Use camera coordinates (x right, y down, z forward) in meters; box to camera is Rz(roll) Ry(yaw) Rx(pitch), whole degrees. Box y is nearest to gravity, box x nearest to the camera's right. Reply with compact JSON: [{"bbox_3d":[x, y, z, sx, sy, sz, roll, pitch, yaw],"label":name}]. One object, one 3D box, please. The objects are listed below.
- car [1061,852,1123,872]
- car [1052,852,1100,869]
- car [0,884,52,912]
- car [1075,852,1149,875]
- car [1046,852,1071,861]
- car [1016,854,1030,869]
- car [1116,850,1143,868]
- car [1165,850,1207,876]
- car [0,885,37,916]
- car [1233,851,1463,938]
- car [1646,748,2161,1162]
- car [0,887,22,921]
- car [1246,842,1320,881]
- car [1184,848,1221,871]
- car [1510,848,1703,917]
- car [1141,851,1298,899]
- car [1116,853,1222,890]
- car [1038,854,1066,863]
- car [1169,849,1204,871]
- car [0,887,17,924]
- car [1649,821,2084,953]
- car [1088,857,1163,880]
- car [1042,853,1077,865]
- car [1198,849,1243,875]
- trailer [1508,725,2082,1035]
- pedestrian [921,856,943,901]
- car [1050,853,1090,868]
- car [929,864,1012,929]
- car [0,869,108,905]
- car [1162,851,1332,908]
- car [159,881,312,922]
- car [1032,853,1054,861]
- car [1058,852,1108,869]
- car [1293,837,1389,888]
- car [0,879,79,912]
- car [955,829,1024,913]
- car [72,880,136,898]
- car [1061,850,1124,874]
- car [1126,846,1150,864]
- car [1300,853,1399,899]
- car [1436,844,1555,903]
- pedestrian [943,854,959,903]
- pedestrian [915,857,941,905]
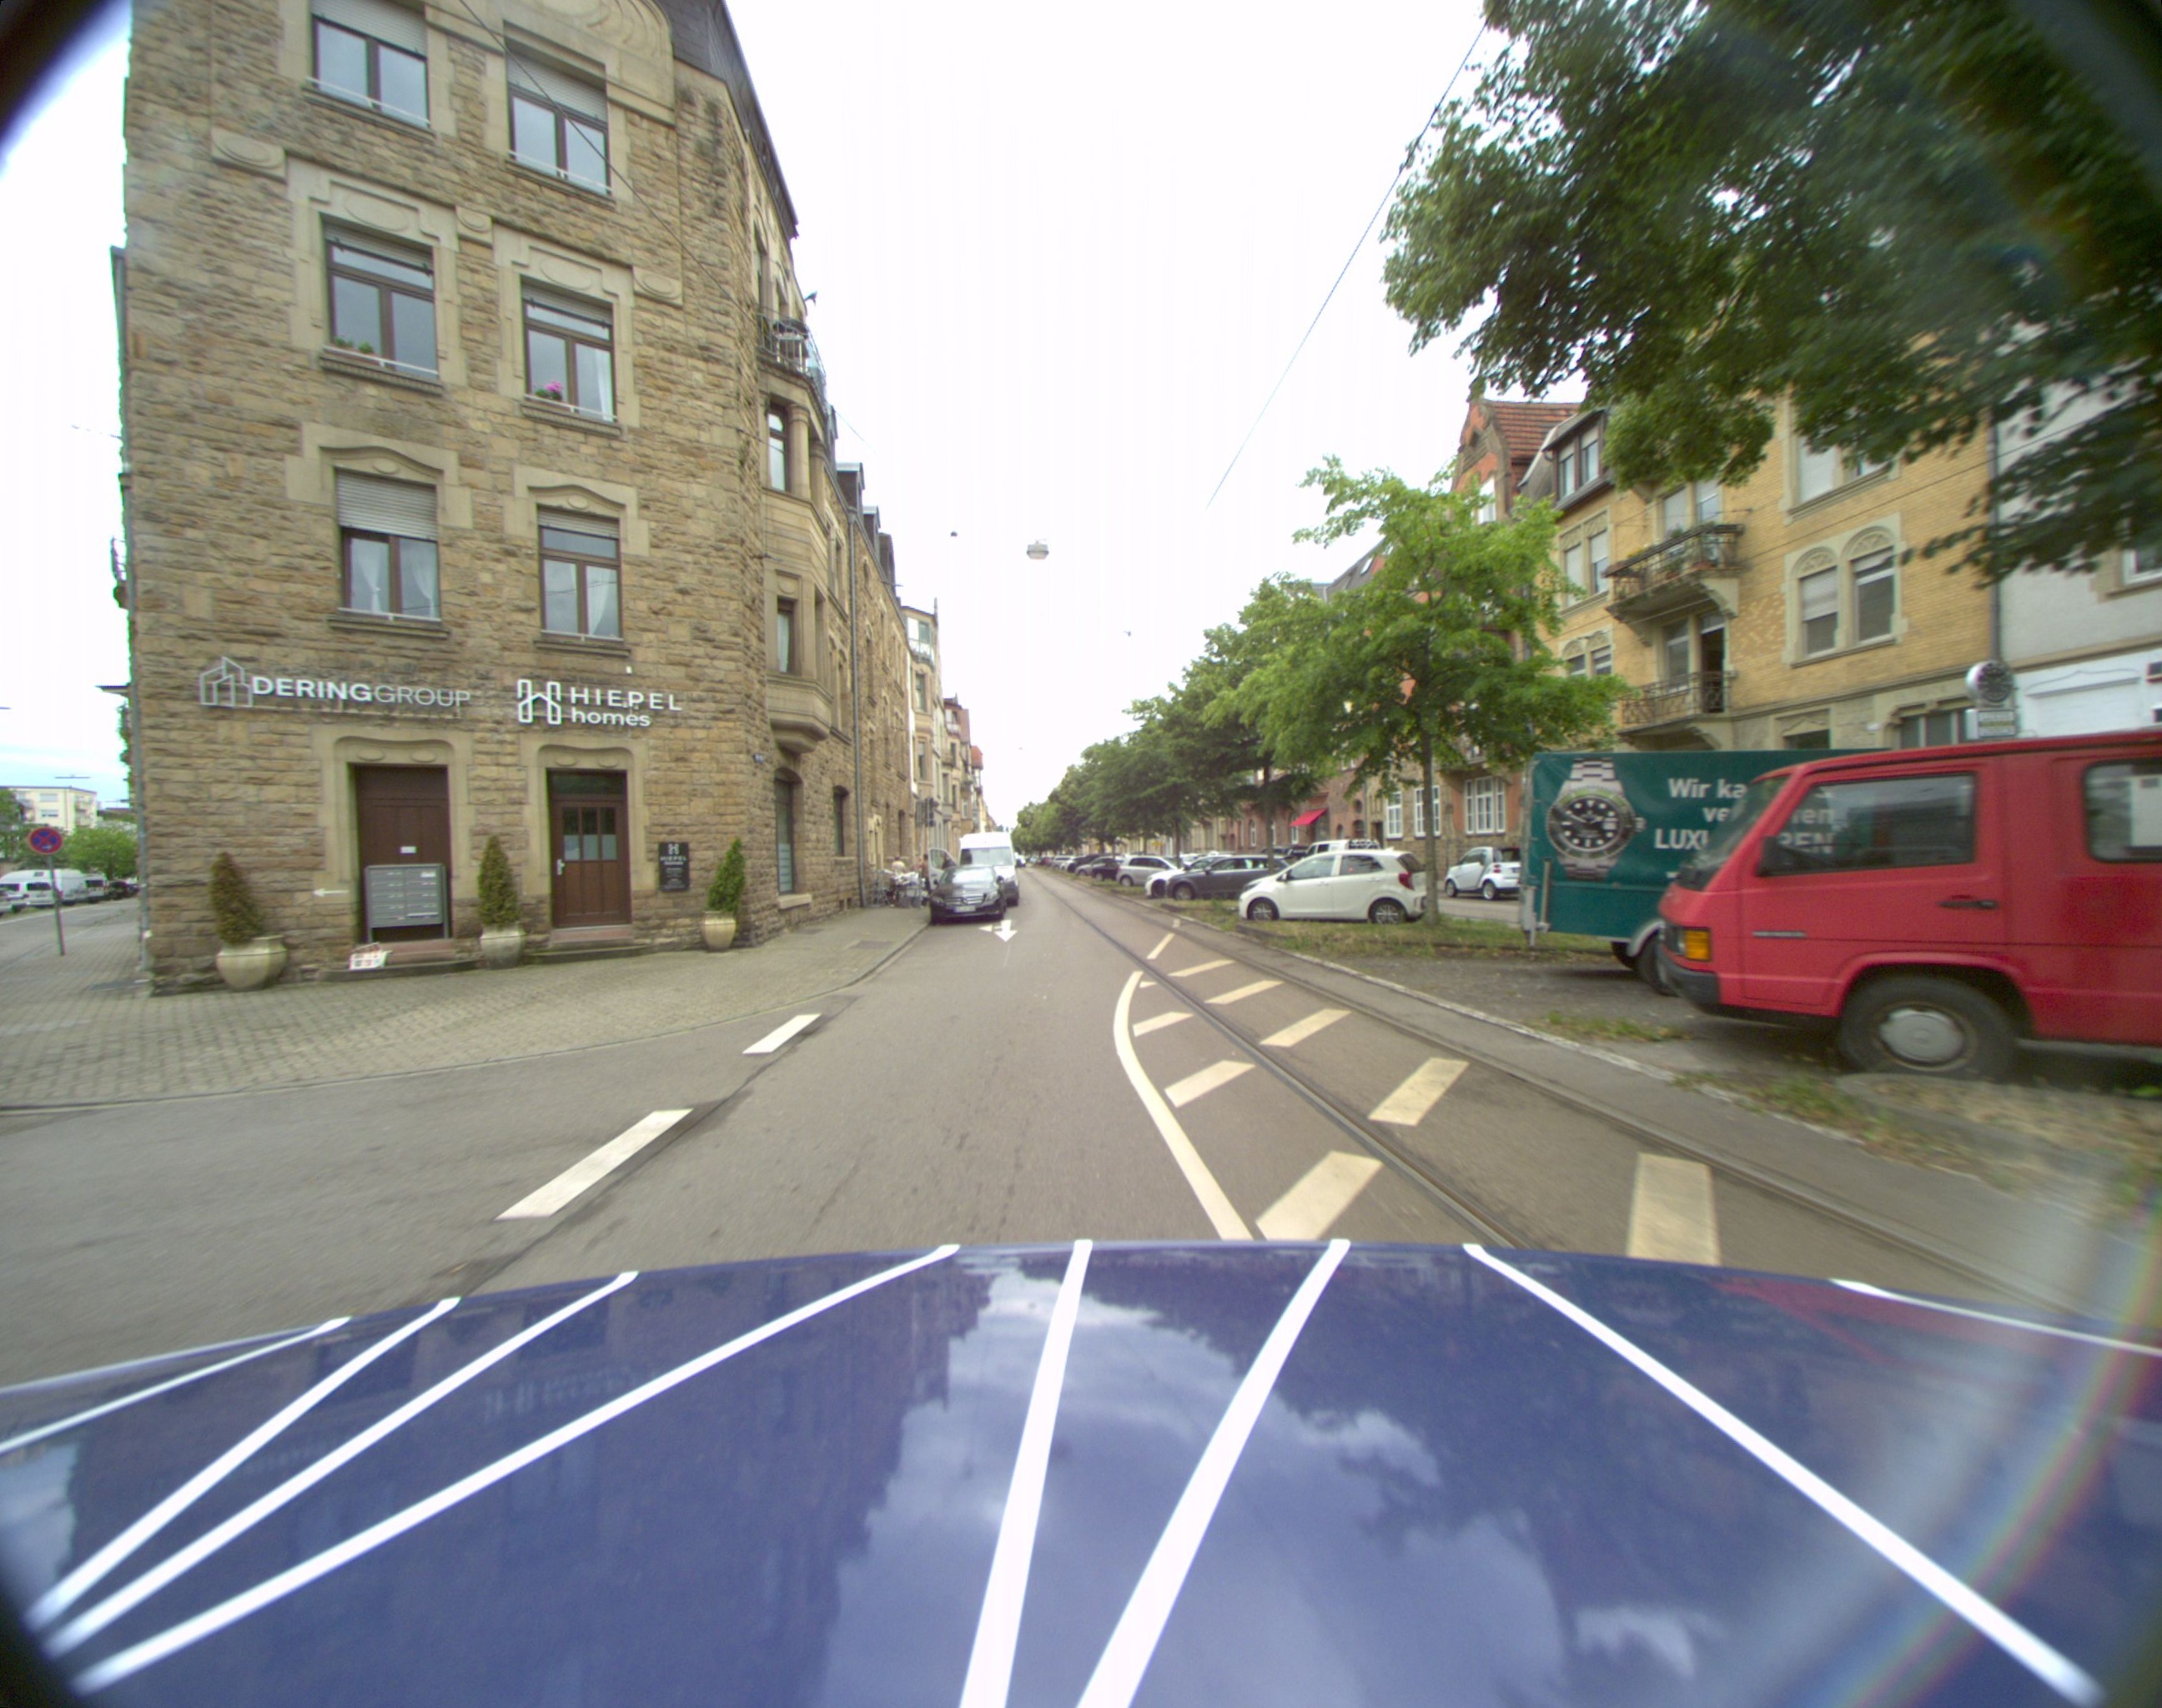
[{"bbox_3d":[0.830,0.647,59.675,4.529,1.482,2.040,-1,1,39],"label":"car"},{"bbox_3d":[-0.482,0.652,74.682,4.552,1.484,1.867,-2,1,41],"label":"car"},{"bbox_3d":[-63.948,2.635,44.930,4.038,1.501,1.888,-2,1,6],"label":"car"},{"bbox_3d":[2.006,0.654,49.664,4.655,1.360,1.761,-2,0,37],"label":"car"},{"bbox_3d":[-3.951,0.482,131.984,3.992,1.407,1.901,-1,-1,15],"label":"car"},{"bbox_3d":[-8.701,1.106,113.295,1.999,2.002,3.997,-2,1,-5],"label":"car"},{"bbox_3d":[4.339,0.405,68.087,1.649,1.495,4.619,-2,1,-6],"label":"car"},{"bbox_3d":[6.446,0.525,46.972,1.649,1.495,3.881,-2,1,-6],"label":"car"},{"bbox_3d":[-57.809,2.484,39.784,4.038,1.501,1.888,-2,1,6],"label":"car"},{"bbox_3d":[5.133,0.731,14.809,3.853,1.454,1.693,-2,0,37],"label":"car"},{"bbox_3d":[6.111,0.451,4.118,4.755,1.963,1.963,-2,0,33],"label":"car"},{"bbox_3d":[-49.652,2.281,32.982,4.044,1.501,1.885,-2,1,-12],"label":"car"},{"bbox_3d":[10.025,0.319,38.112,1.819,1.771,5.114,-2,1,-6],"label":"car"},{"bbox_3d":[8.802,0.372,55.316,1.667,1.551,3.720,-2,1,-6],"label":"car"},{"bbox_3d":[12.510,0.617,18.433,1.640,1.434,3.921,-2,0,-7],"label":"car"},{"bbox_3d":[4.495,0.691,25.004,4.675,1.426,1.902,-2,0,34],"label":"car"},{"bbox_3d":[3.731,0.762,32.464,4.106,1.475,1.800,-2,1,36],"label":"car"},{"bbox_3d":[-4.613,0.741,120.473,3.989,1.407,1.902,-2,-1,33],"label":"car"},{"bbox_3d":[8.315,0.437,60.180,1.774,1.619,4.317,-2,1,-6],"label":"car"},{"bbox_3d":[-47.187,2.219,31.042,4.044,1.501,1.885,-2,1,-12],"label":"car"},{"bbox_3d":[10.054,0.342,10.230,1.649,1.374,3.881,-2,1,-6],"label":"car"},{"bbox_3d":[2.497,0.823,42.912,3.952,1.195,1.671,-2,0,38],"label":"car"},{"bbox_3d":[-2.908,0.727,102.762,4.595,1.458,1.890,-2,0,40],"label":"car"},{"bbox_3d":[9.208,0.475,50.509,1.745,1.617,4.551,-2,1,-6],"label":"car"},{"bbox_3d":[6.312,0.230,7.398,3.662,2.331,1.934,-2,0,28],"label":"trailer"},{"bbox_3d":[-5.736,0.943,29.207,0.706,1.690,0.491,0,0,-33],"label":"pedestrian"},{"bbox_3d":[-1.226,0.735,84.956,4.195,1.600,1.728,-1,2,36],"label":"car"},{"bbox_3d":[-2.923,1.069,21.100,1.829,1.442,5.004,-3,0,-4],"label":"car"},{"bbox_3d":[-78.750,2.458,57.878,5.327,2.488,2.346,-2,1,-12],"label":"car"},{"bbox_3d":[4.703,0.716,21.786,4.328,1.426,1.902,-2,0,37],"label":"car"},{"bbox_3d":[-34.351,1.885,31.052,1.750,1.425,4.052,0,0,45],"label":"car"},{"bbox_3d":[-7.540,0.643,151.554,3.990,1.602,1.902,-2,-1,25],"label":"car"},{"bbox_3d":[0.135,0.600,67.560,4.119,1.304,1.867,-2,1,38],"label":"car"},{"bbox_3d":[10.896,0.309,32.283,1.887,1.941,5.090,-2,1,-6],"label":"car"},{"bbox_3d":[-72.391,2.835,51.353,5.327,2.011,2.346,-2,1,-12],"label":"car"},{"bbox_3d":[-3.150,0.536,27.499,2.019,2.534,7.013,-4,0,-4],"label":"car"},{"bbox_3d":[-93.279,3.327,72.540,4.038,1.501,1.888,-2,1,6],"label":"car"},{"bbox_3d":[0.815,0.621,55.944,4.520,1.624,1.769,-1,1,39],"label":"car"},{"bbox_3d":[6.281,0.114,84.014,1.856,1.860,4.429,-2,0,-5],"label":"car"},{"bbox_3d":[9.001,0.681,25.836,1.649,1.374,3.881,-2,1,-6],"label":"car"},{"bbox_3d":[12.043,0.536,22.286,1.640,1.541,2.949,-2,0,-7],"label":"car"},{"bbox_3d":[-4.889,0.909,28.537,0.500,1.804,0.802,0,0,-4],"label":"pedestrian"},{"bbox_3d":[-5.494,0.960,27.273,0.866,1.690,0.537,0,0,-19],"label":"pedestrian"}]
